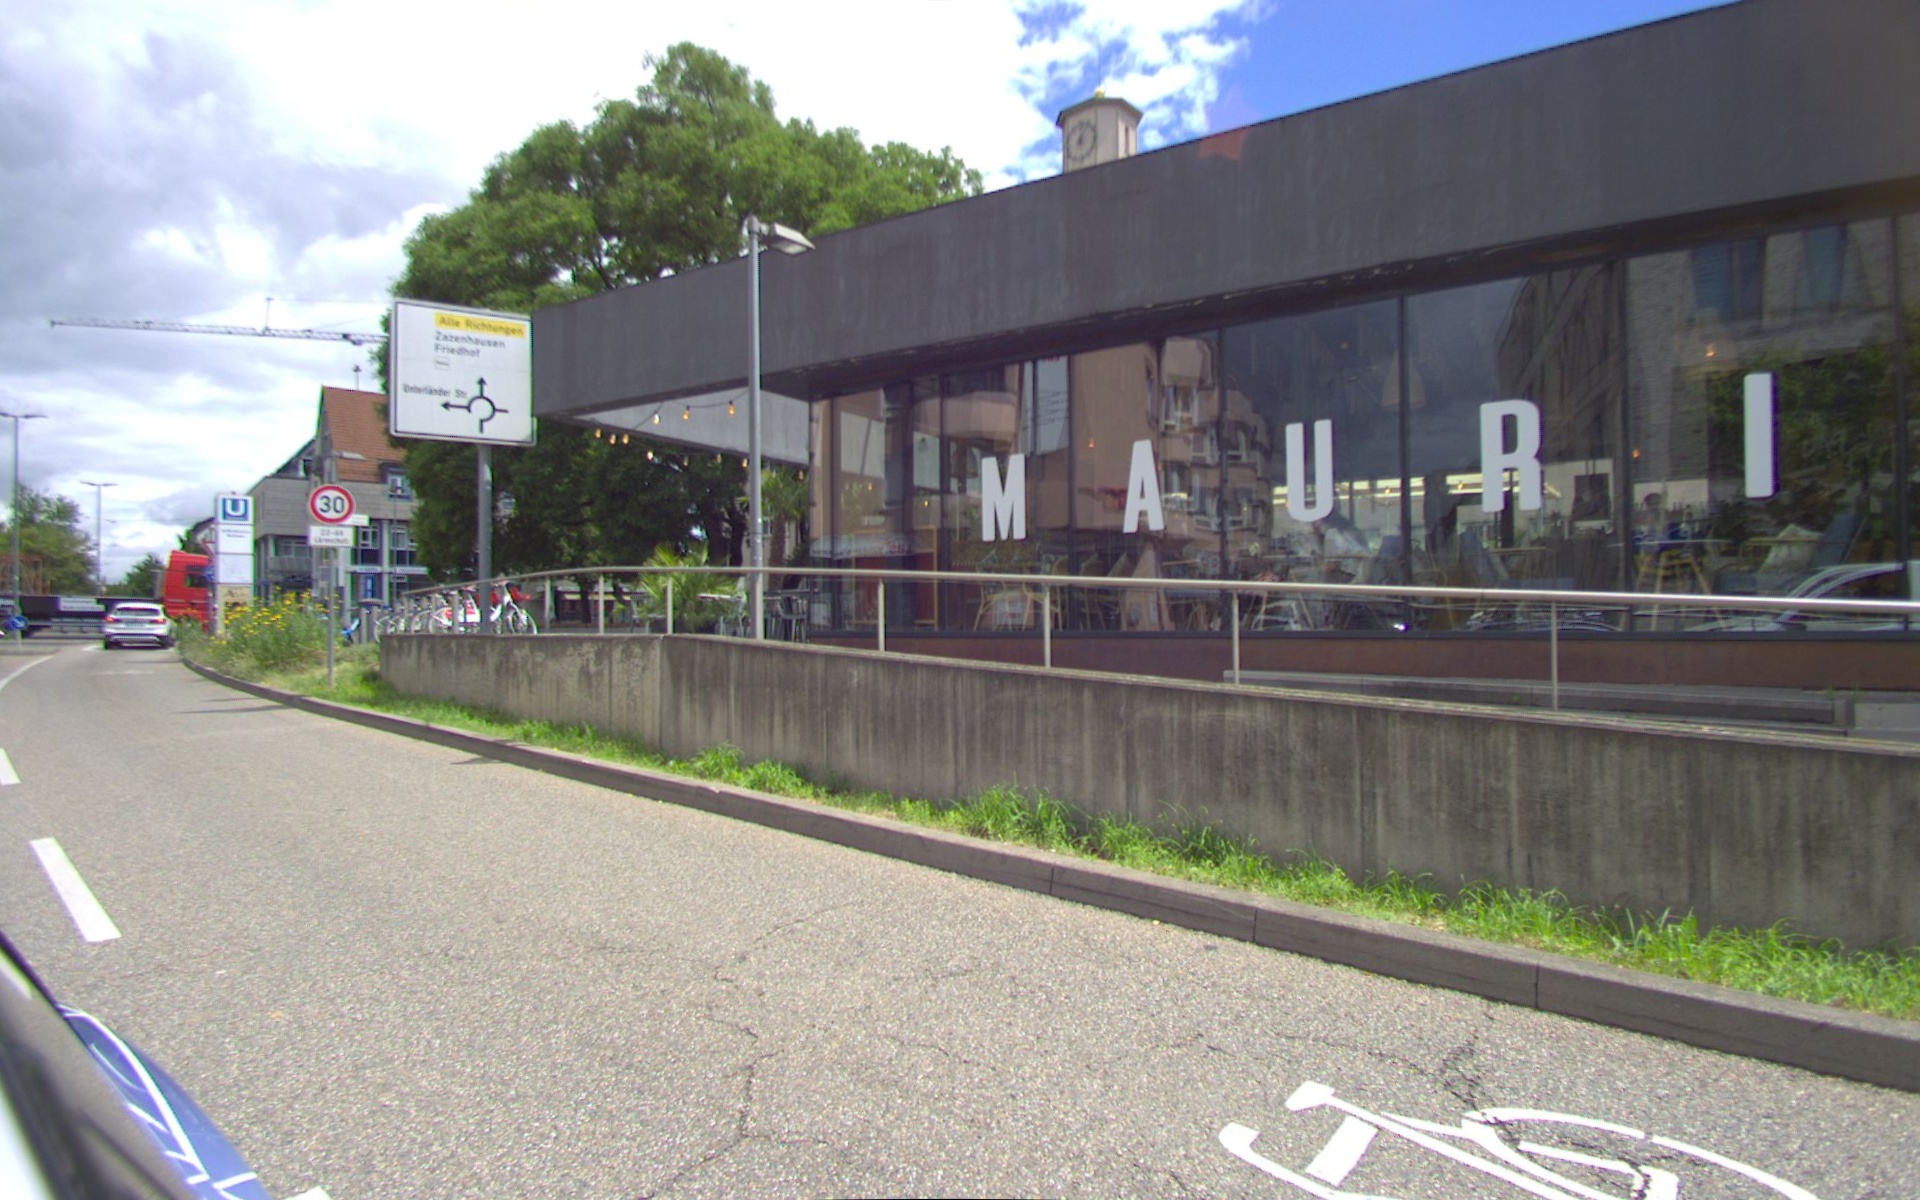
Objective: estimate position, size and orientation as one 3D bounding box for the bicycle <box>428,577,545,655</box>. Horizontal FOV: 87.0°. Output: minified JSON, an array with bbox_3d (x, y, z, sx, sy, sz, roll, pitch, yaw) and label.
[{"bbox_3d":[-7.283,0.252,15.614,1.528,1.136,0.534,2,-2,-45],"label":"bicycle"}]

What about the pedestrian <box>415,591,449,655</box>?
[{"bbox_3d":[-13.734,0.592,26.315,0.651,1.641,0.801,0,-2,-37],"label":"pedestrian"}]

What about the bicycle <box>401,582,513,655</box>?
[{"bbox_3d":[-8.115,0.301,16.377,1.528,1.136,0.534,2,-2,-45],"label":"bicycle"}]

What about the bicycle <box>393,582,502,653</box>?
[{"bbox_3d":[-8.550,0.299,16.909,1.528,1.136,0.534,2,-2,-45],"label":"bicycle"}]

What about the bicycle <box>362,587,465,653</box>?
[{"bbox_3d":[-9.726,0.363,18.047,1.528,1.136,0.534,2,-2,-45],"label":"bicycle"}]

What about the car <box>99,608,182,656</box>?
[{"bbox_3d":[-29.177,1.134,36.140,1.797,1.597,4.177,2,-2,-32],"label":"car"}]

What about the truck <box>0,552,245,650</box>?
[{"bbox_3d":[-36.719,0.011,42.524,10.661,3.871,2.691,0,1,-29],"label":"truck"}]

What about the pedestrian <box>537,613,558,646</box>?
[{"bbox_3d":[-21.438,1.558,52.607,0.817,1.688,0.681,-3,-2,42],"label":"pedestrian"}]

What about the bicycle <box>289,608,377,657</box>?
[{"bbox_3d":[-14.423,0.750,23.314,0.515,1.090,1.668,-3,-3,41],"label":"bicycle"}]

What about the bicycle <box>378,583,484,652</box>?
[{"bbox_3d":[-9.153,0.309,17.548,1.528,1.136,0.534,2,-2,-45],"label":"bicycle"}]

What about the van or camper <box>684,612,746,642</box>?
[{"bbox_3d":[-19.901,2.157,82.205,4.642,2.400,1.986,-1,-1,21],"label":"van or camper"}]

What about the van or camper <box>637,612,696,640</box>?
[{"bbox_3d":[-25.260,2.227,87.008,4.642,2.400,1.986,-1,-1,21],"label":"van or camper"}]
